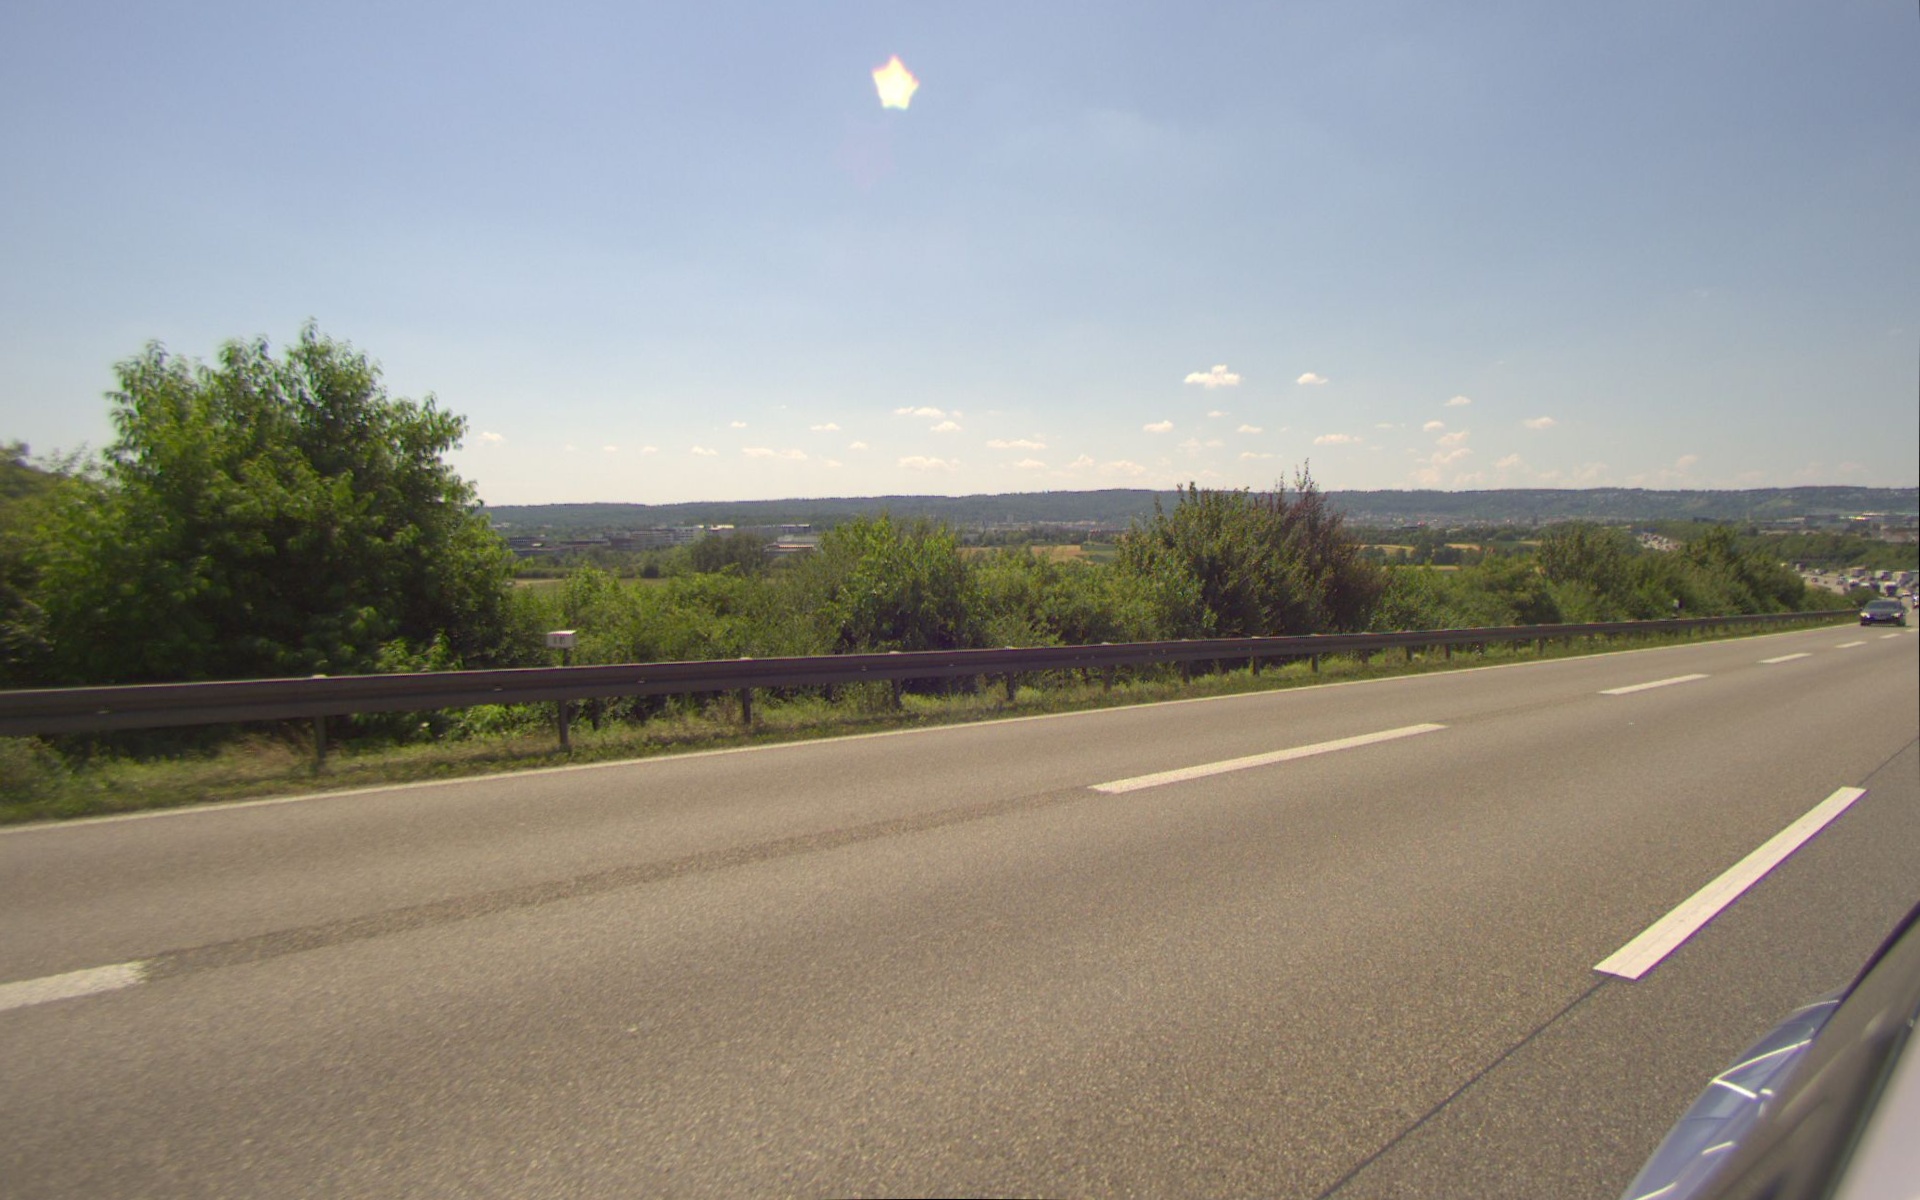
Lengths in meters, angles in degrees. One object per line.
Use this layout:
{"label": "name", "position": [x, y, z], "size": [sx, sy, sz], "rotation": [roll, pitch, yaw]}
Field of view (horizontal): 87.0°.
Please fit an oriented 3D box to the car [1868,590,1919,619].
{"label": "car", "position": [52.194, 0.229, 56.572], "size": [2.032, 1.571, 3.937], "rotation": [0, 0, 44]}
